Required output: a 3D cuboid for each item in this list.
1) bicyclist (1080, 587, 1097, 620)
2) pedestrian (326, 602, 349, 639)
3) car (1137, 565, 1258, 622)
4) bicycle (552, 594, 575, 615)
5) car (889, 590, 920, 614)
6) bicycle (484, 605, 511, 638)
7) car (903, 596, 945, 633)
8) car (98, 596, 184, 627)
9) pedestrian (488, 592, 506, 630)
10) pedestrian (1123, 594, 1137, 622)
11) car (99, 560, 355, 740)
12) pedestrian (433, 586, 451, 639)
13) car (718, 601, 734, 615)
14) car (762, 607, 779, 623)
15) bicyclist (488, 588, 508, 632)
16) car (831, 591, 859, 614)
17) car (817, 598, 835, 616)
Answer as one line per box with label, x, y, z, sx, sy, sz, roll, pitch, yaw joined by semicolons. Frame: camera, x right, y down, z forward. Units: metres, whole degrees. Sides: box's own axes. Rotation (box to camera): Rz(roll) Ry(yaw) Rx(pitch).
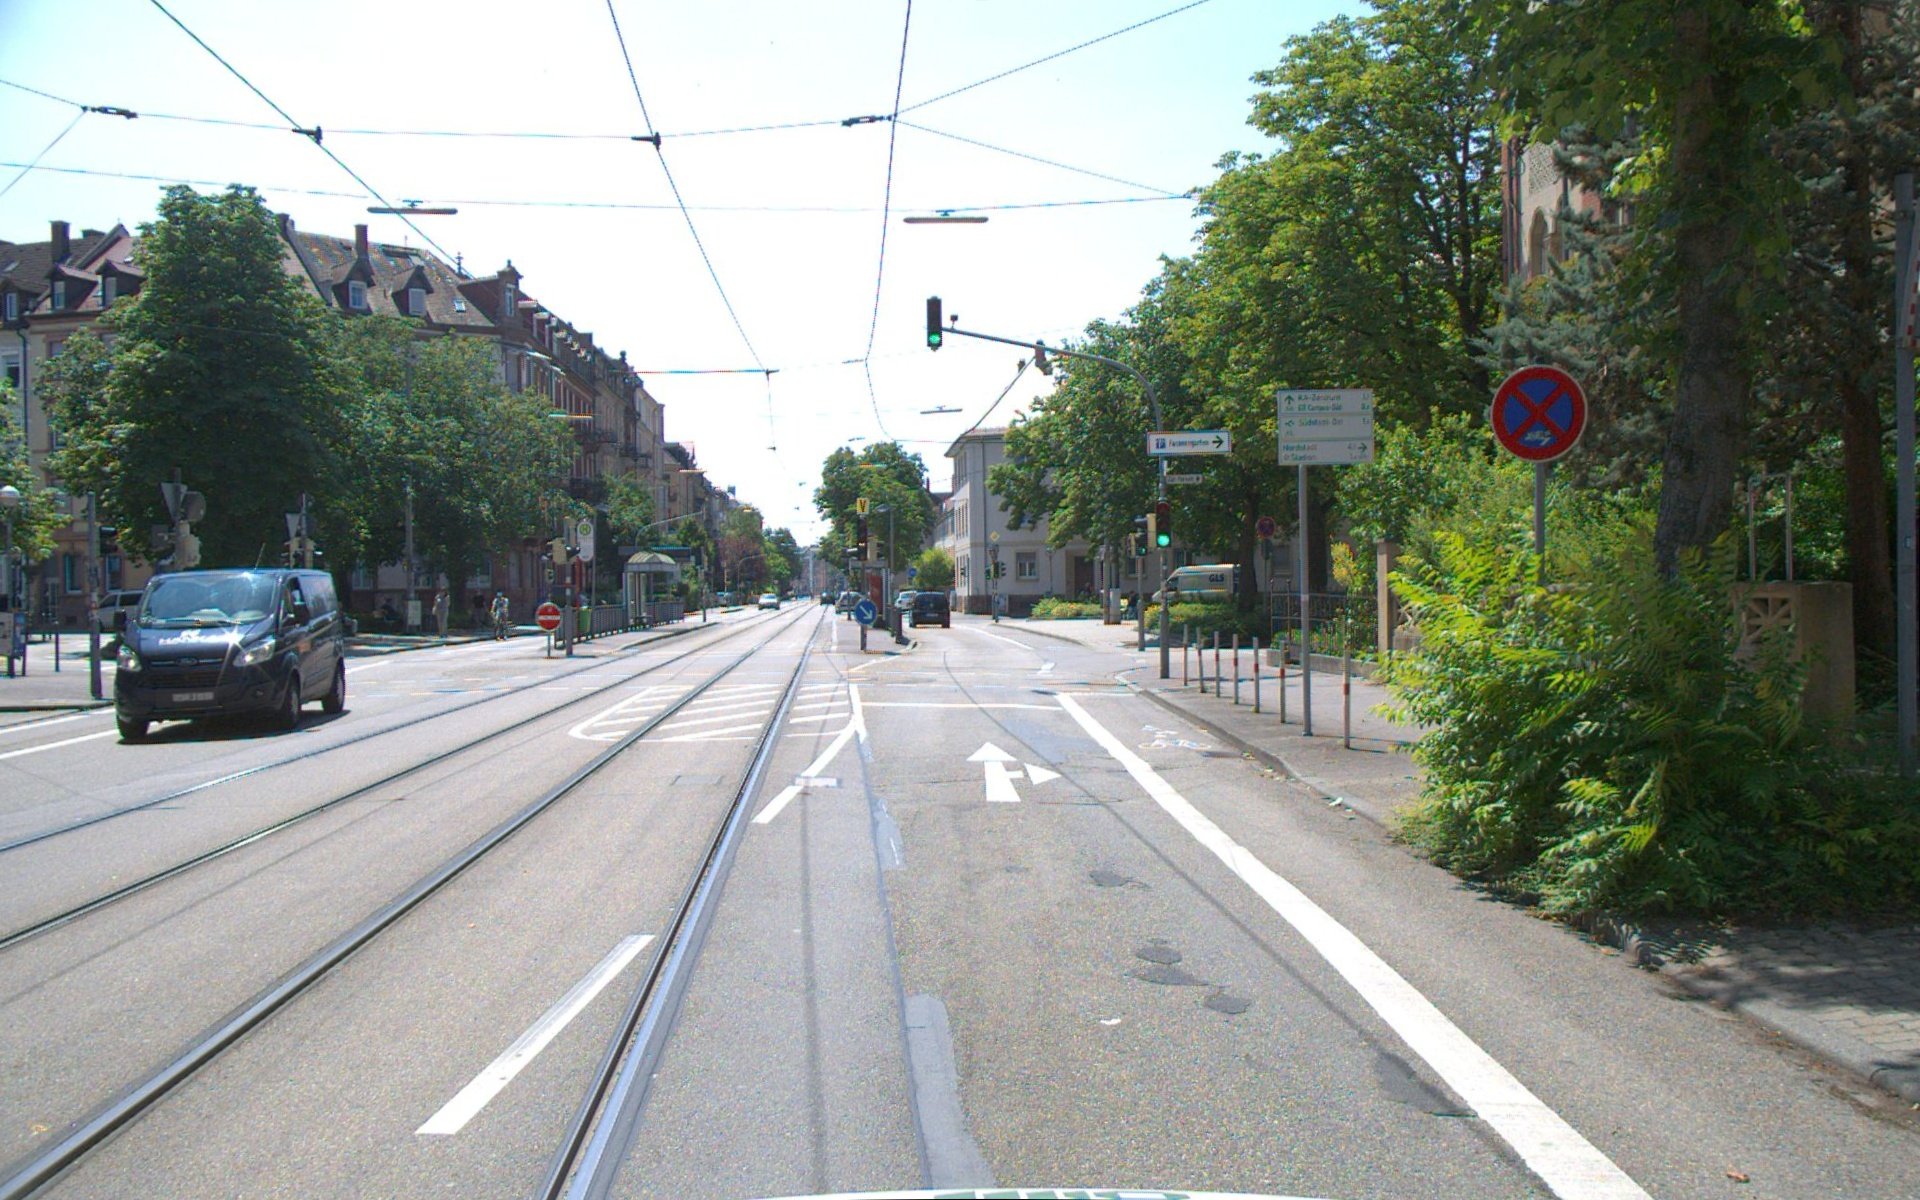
bicyclist;6.613;0.168;85.047;0.680;1.675;0.579;0;-1;28
pedestrian;-21.996;0.719;58.418;0.635;1.278;0.546;-1;-1;45
car;11.392;-0.290;79.698;1.985;2.635;5.754;-1;0;-44
bicycle;-23.134;0.271;96.569;0.357;1.190;1.516;1;0;31
car;-3.742;0.134;111.142;1.714;1.498;3.933;-3;0;-6
bicycle;-16.849;0.774;60.280;0.616;1.177;1.976;0;0;-5
car;-1.534;0.605;69.508;1.495;1.469;3.361;-2;0;-5
car;-38.933;0.538;78.609;3.651;1.467;1.542;0;-1;19
pedestrian;-20.326;0.478;72.613;0.667;1.633;0.771;0;-1;-9
pedestrian;6.943;0.314;67.612;0.499;1.111;0.478;-2;1;1
car;-9.138;0.586;21.069;1.810;1.971;4.811;-2;0;-10
pedestrian;-18.875;0.442;60.244;0.500;1.912;0.493;0;-1;-1
car;-26.552;0.919;187.844;1.653;1.498;3.931;-3;0;-7
car;-16.833;1.352;146.859;1.511;1.362;3.714;0;-1;-6
bicyclist;-16.843;0.378;60.331;0.596;1.602;0.585;0;-1;-5
car;-7.843;0.169;112.518;1.497;1.481;3.356;-2;0;-10
car;-15.460;0.823;190.317;2.007;2.049;4.602;0;-1;-5
